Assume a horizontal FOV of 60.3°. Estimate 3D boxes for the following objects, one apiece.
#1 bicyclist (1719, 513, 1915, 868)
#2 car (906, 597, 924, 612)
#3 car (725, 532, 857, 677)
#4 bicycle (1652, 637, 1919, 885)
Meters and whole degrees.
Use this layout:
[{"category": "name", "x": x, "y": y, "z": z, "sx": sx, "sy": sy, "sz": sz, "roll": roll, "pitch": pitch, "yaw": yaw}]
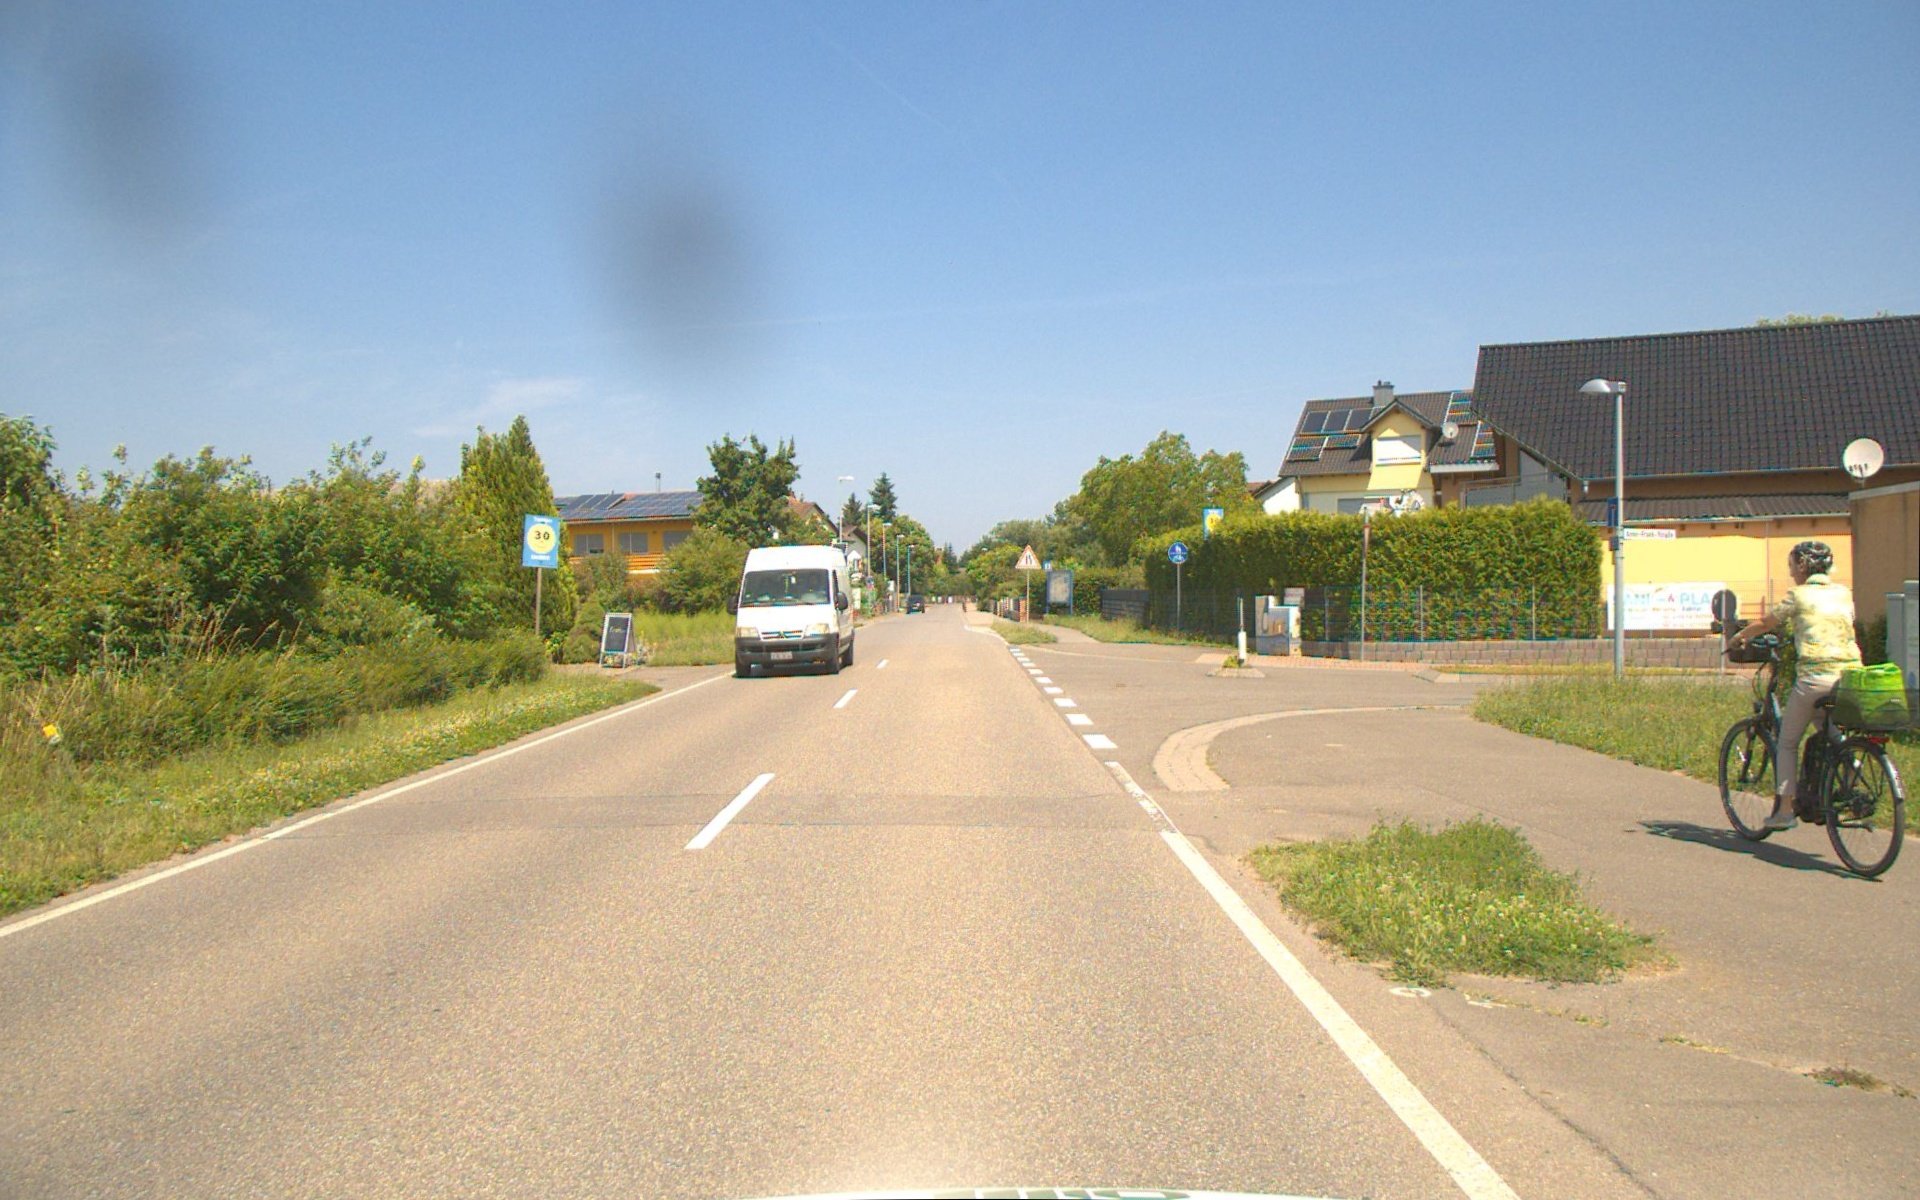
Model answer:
[{"category": "bicyclist", "x": 4.861, "y": 0.485, "z": 9.431, "sx": 0.632, "sy": 1.922, "sz": 0.861, "roll": 1, "pitch": 1, "yaw": -1}, {"category": "car", "x": -4.559, "y": 0.409, "z": 166.769, "sx": 1.723, "sy": 1.409, "sz": 3.452, "roll": -2, "pitch": 0, "yaw": -1}, {"category": "car", "x": -3.290, "y": 0.048, "z": 33.392, "sx": 2.035, "sy": 2.586, "sz": 5.872, "roll": -2, "pitch": 1, "yaw": -1}, {"category": "bicycle", "x": 4.848, "y": 0.858, "z": 9.682, "sx": 0.598, "sy": 1.179, "sz": 2.274, "roll": 1, "pitch": 1, "yaw": -1}]
